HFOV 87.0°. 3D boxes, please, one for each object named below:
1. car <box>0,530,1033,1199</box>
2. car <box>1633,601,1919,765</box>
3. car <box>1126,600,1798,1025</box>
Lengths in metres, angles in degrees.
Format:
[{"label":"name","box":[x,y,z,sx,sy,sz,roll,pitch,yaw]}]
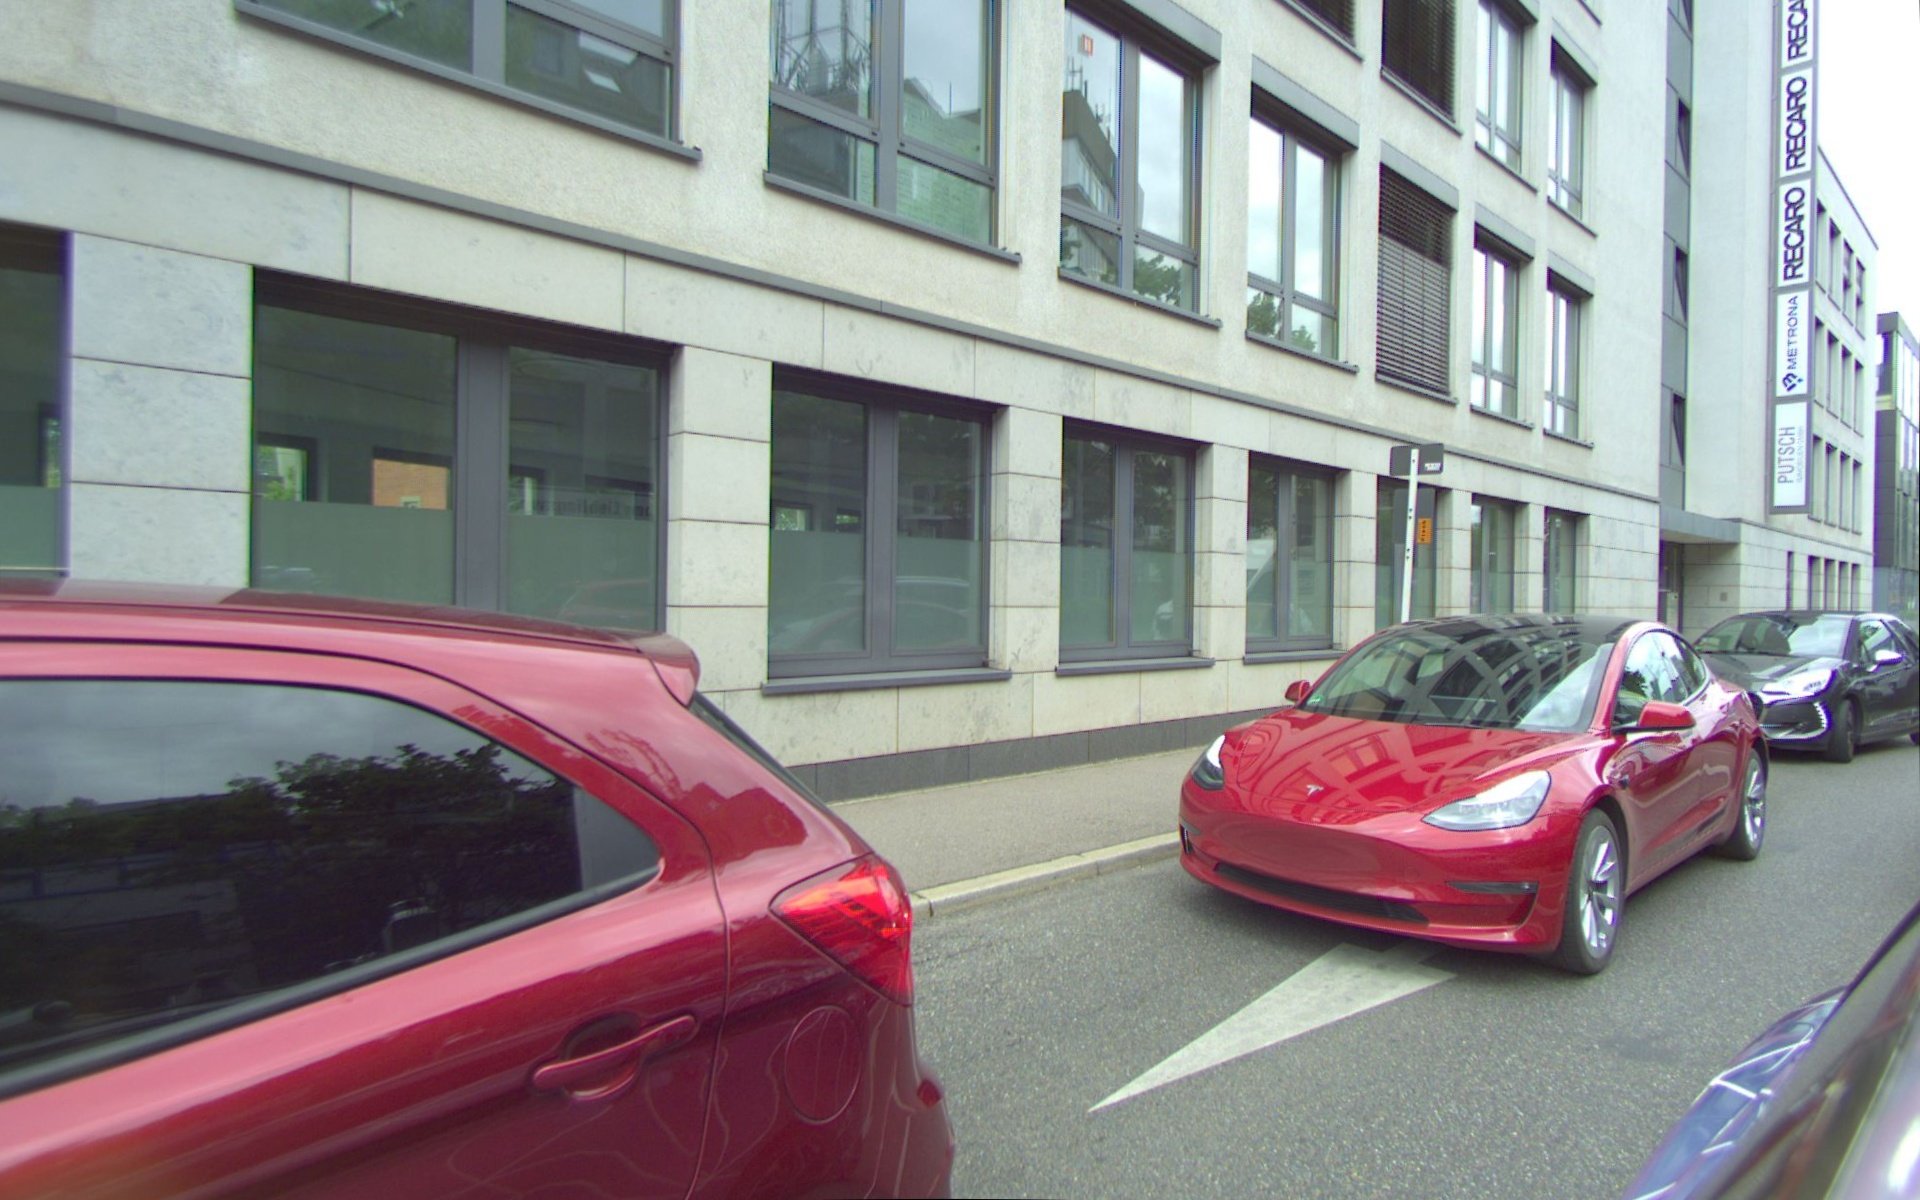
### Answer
[{"label":"car","box":[-1.805,0.694,1.123,3.655,1.500,1.747,0,0,-42]},{"label":"car","box":[9.189,0.755,10.936,3.982,1.479,1.707,0,-1,-32]},{"label":"car","box":[3.035,0.729,5.611,4.366,1.436,1.875,0,-1,-42]}]
